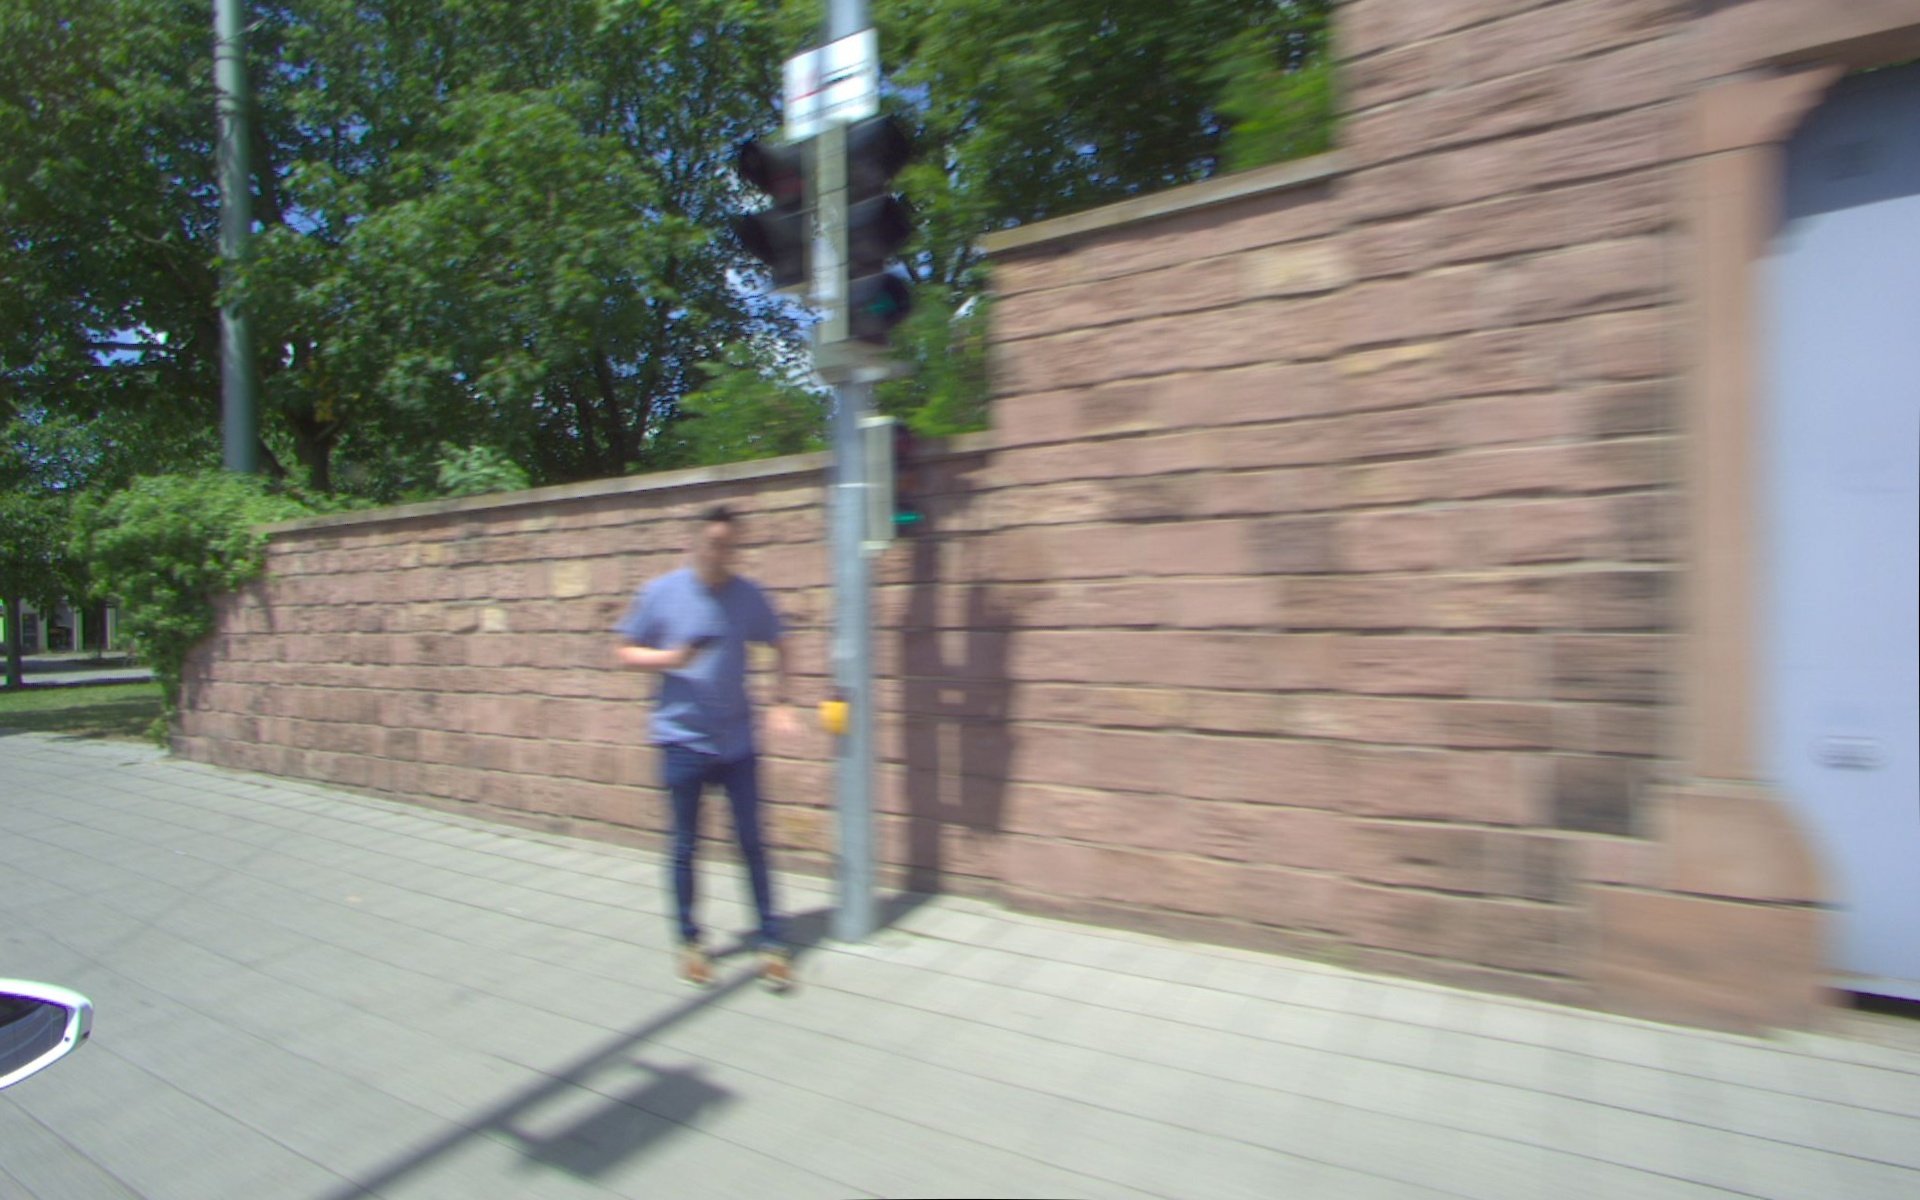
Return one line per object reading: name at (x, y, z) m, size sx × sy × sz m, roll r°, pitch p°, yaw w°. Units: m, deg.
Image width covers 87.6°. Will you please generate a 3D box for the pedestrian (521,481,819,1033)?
pedestrian at (-1.116, 0.529, 3.896) m, size 0.758 × 1.877 × 0.712 m, roll -1°, pitch 3°, yaw 38°
